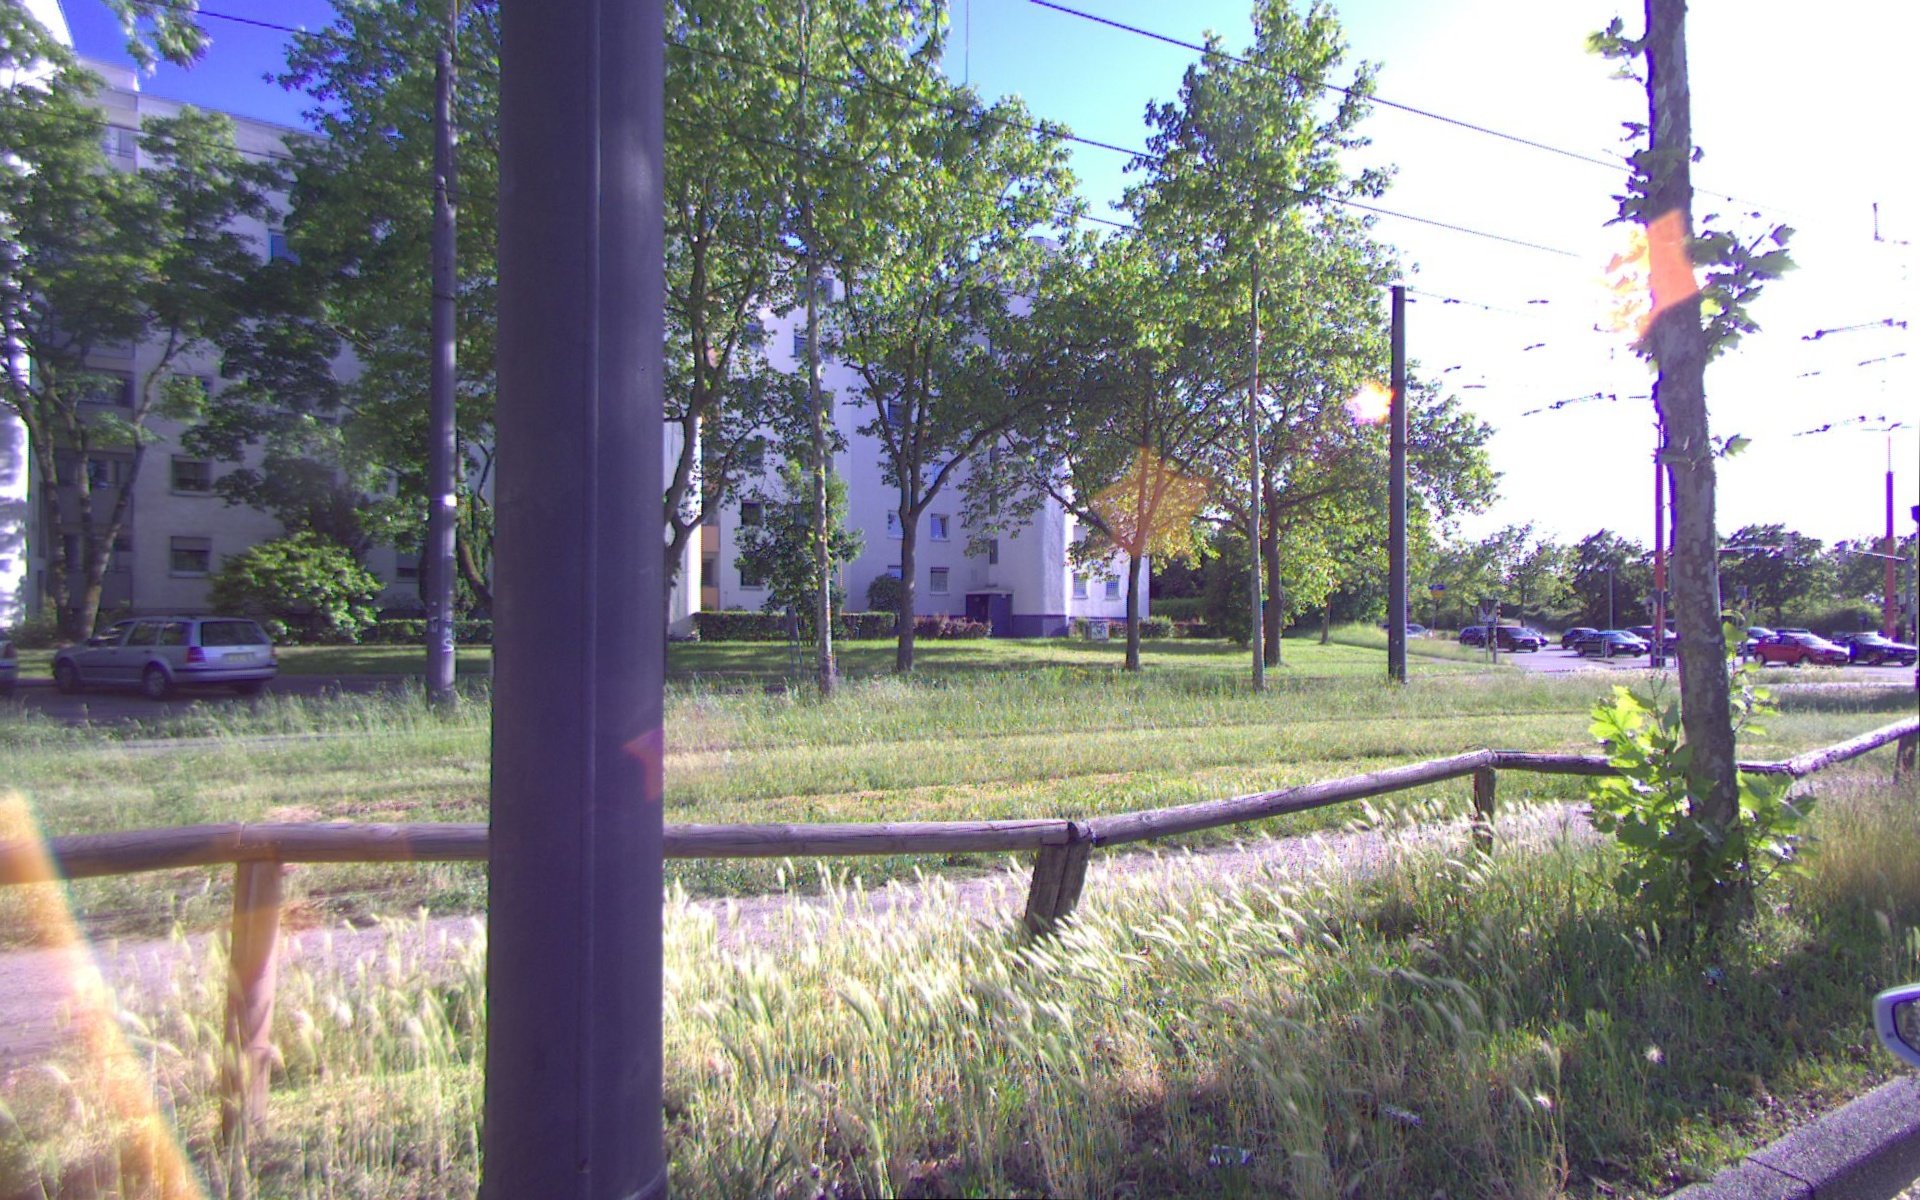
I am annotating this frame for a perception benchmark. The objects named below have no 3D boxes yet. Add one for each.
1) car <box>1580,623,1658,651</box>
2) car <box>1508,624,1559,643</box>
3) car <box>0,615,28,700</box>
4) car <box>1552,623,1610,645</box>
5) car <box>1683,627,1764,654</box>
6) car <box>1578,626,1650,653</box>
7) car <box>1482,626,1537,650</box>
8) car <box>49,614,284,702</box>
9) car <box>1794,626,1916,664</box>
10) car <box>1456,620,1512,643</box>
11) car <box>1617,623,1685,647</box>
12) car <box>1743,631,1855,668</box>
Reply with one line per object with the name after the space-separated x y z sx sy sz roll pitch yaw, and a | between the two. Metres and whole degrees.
42.583 2.346 64.997 1.723 1.669 4.640 1 -1 -5 | car
45.123 2.622 79.082 1.513 1.434 4.154 1 -1 -3 | car
-17.989 0.944 17.151 3.567 1.421 1.581 1 0 20 | car
45.296 2.458 73.328 1.513 1.434 4.154 1 -1 -3 | car
45.568 2.393 60.061 1.513 1.434 4.154 1 -1 -3 | car
39.404 2.357 60.641 1.624 1.540 4.200 1 -1 1 | car
38.836 2.667 71.035 1.624 1.540 4.200 1 -1 1 | car
-14.540 1.007 18.425 3.830 1.421 1.581 1 0 20 | car
42.770 2.113 48.145 1.721 1.669 4.644 1 -1 1 | car
41.726 2.499 80.046 1.723 1.669 4.640 1 -1 -5 | car
45.395 2.292 66.081 1.513 1.434 4.154 1 -1 -3 | car
39.016 2.273 46.839 1.624 1.540 4.199 1 -1 -2 | car
